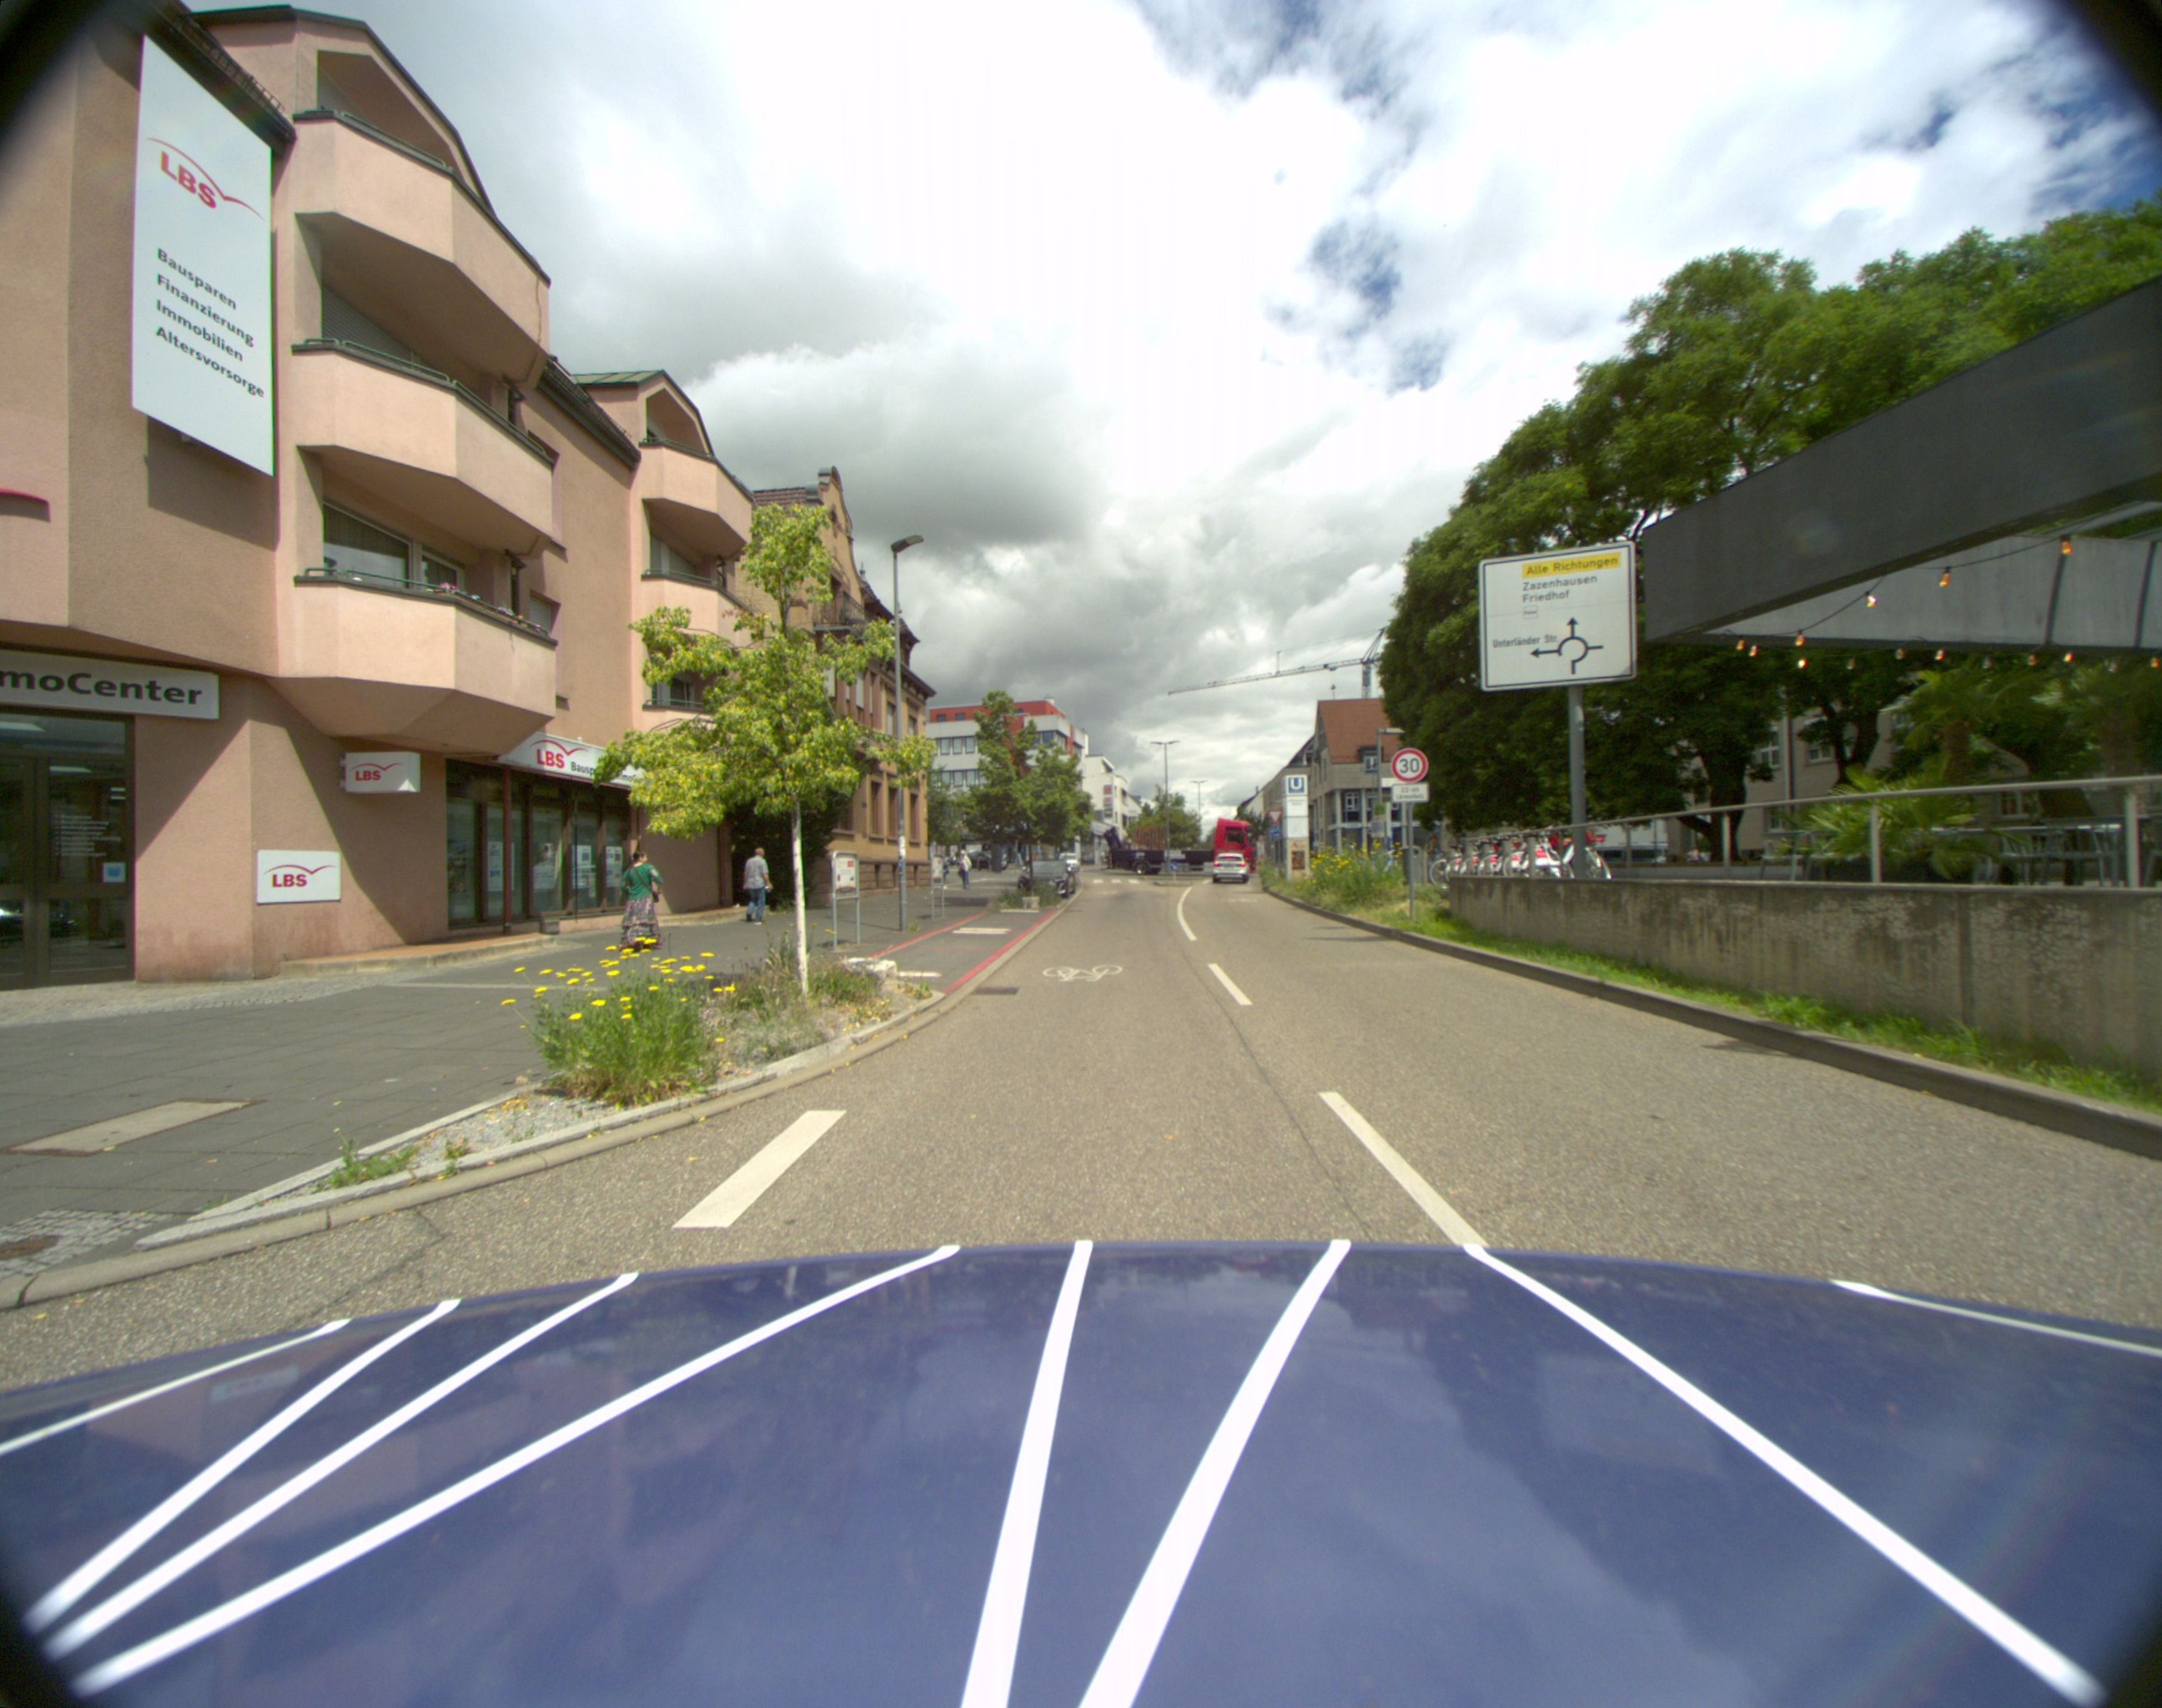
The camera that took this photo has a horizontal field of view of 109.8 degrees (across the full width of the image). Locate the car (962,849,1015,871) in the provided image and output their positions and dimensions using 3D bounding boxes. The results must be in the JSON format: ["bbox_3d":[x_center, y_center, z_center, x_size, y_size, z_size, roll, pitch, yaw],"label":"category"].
[{"bbox_3d":[-7.733,0.473,63.708,3.994,1.641,2.001,-3,0,10],"label":"car"}]

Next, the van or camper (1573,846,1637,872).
[{"bbox_3d":[49.654,0.493,72.051,2.002,2.368,4.668,-2,0,-20],"label":"van or camper"}]

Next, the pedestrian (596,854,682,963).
[{"bbox_3d":[-6.903,0.832,11.910,0.746,1.629,0.927,1,0,3],"label":"pedestrian"}]

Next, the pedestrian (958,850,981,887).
[{"bbox_3d":[-5.048,0.654,34.433,0.696,1.649,0.741,-2,1,15],"label":"pedestrian"}]

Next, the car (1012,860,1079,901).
[{"bbox_3d":[-1.280,0.967,29.578,1.998,1.405,4.737,-1,0,4],"label":"car"}]

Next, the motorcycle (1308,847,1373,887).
[{"bbox_3d":[9.608,0.486,28.212,2.194,1.441,0.648,-1,1,3],"label":"motorcycle"}]

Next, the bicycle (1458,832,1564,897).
[{"bbox_3d":[7.674,0.195,13.604,1.550,1.120,0.534,-1,0,4],"label":"bicycle"}]

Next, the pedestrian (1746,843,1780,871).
[{"bbox_3d":[29.956,0.135,33.401,0.816,1.219,0.691,-2,-1,-1],"label":"pedestrian"}]

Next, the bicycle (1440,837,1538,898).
[{"bbox_3d":[7.757,0.262,14.472,1.550,1.120,0.534,-1,0,4],"label":"bicycle"}]

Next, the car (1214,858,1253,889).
[{"bbox_3d":[8.313,1.005,41.186,1.825,1.575,4.170,0,0,15],"label":"car"}]

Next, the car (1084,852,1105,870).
[{"bbox_3d":[1.332,0.679,73.676,1.803,1.571,4.000,-2,1,2],"label":"car"}]

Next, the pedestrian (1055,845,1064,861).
[{"bbox_3d":[-2.183,-0.105,76.079,0.684,1.585,0.767,-2,1,13],"label":"pedestrian"}]

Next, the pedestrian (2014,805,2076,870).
[{"bbox_3d":[28.274,-0.474,22.296,0.661,1.839,0.830,-2,-1,5],"label":"pedestrian"}]

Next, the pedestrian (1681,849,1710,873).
[{"bbox_3d":[30.244,0.353,37.428,0.816,1.168,0.691,-2,-1,-1],"label":"pedestrian"}]

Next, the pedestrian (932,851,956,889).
[{"bbox_3d":[-6.134,0.708,33.975,0.738,1.630,0.677,-2,2,29],"label":"pedestrian"}]

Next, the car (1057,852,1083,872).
[{"bbox_3d":[-0.828,0.640,60.196,1.815,1.391,4.053,-2,1,2],"label":"car"}]

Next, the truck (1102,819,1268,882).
[{"bbox_3d":[6.965,-0.171,51.899,10.821,3.821,2.687,-2,1,27],"label":"truck"}]

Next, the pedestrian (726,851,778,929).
[{"bbox_3d":[-7.384,0.787,17.087,0.718,1.676,0.944,0,1,0],"label":"pedestrian"}]

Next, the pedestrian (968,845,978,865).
[{"bbox_3d":[-10.914,0.097,76.846,0.684,1.902,0.767,-2,1,13],"label":"pedestrian"}]

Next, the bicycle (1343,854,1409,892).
[{"bbox_3d":[8.620,0.561,22.245,1.690,1.075,0.515,-1,-2,0],"label":"bicycle"}]

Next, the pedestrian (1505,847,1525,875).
[{"bbox_3d":[26.236,0.424,45.903,0.690,1.665,0.817,-2,-1,1],"label":"pedestrian"}]

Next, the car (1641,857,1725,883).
[{"bbox_3d":[40.366,1.065,51.014,4.069,1.530,1.748,-2,1,11],"label":"car"}]

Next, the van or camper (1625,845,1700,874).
[{"bbox_3d":[49.608,0.471,64.934,2.002,2.368,4.668,-2,0,-20],"label":"van or camper"}]

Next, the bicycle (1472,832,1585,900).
[{"bbox_3d":[7.557,0.203,12.870,1.550,1.120,0.534,-1,0,4],"label":"bicycle"}]

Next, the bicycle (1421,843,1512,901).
[{"bbox_3d":[7.743,0.354,15.300,1.550,1.120,0.534,-1,0,4],"label":"bicycle"}]

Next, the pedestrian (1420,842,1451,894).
[{"bbox_3d":[11.375,0.444,24.386,0.661,1.619,0.800,-2,-1,12],"label":"pedestrian"}]

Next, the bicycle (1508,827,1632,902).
[{"bbox_3d":[7.595,0.162,11.835,1.550,1.120,0.534,-1,0,4],"label":"bicycle"}]
